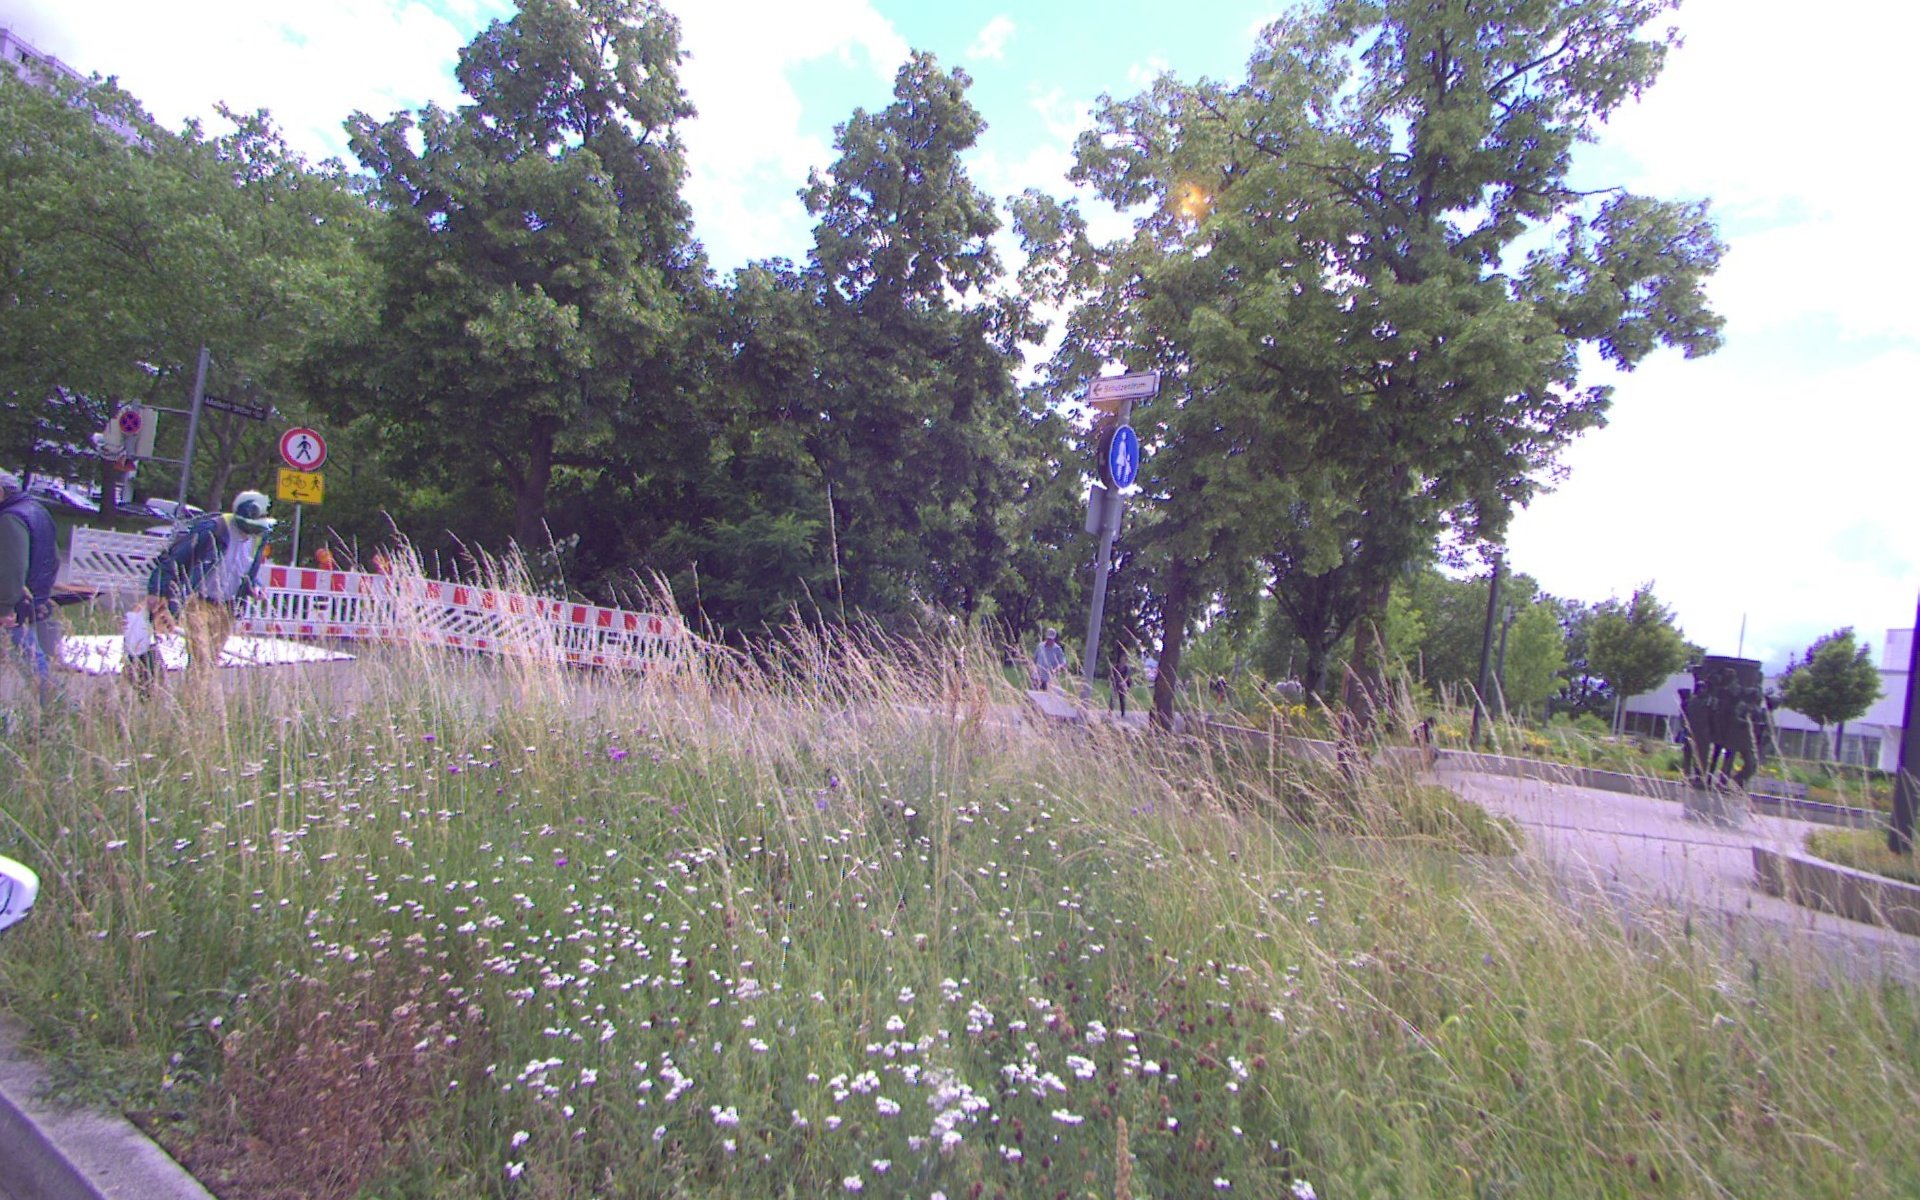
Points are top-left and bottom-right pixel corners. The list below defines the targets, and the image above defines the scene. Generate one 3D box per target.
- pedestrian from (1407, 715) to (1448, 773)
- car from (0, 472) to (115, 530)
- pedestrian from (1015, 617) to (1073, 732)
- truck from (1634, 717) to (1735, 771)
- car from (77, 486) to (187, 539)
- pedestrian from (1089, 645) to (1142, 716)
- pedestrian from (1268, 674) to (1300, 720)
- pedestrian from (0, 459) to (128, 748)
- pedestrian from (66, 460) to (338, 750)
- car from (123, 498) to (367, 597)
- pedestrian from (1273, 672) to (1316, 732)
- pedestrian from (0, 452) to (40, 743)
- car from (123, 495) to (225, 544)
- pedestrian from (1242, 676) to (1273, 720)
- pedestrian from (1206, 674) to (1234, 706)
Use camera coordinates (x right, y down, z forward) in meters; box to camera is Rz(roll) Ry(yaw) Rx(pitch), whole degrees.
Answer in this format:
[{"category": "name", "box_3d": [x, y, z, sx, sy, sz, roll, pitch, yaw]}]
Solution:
[{"category": "pedestrian", "box_3d": [10.759, 3.310, 23.163, 0.623, 1.236, 0.618, 7, -1, 36]}, {"category": "car", "box_3d": [-43.702, -4.774, 48.571, 3.926, 2.037, 2.001, 8, -1, 0]}, {"category": "pedestrian", "box_3d": [1.455, 1.283, 17.491, 0.757, 1.862, 0.765, 7, -1, 5]}, {"category": "truck", "box_3d": [37.309, 7.403, 51.929, 1.965, 2.037, 3.999, 8, -1, -4]}, {"category": "car", "box_3d": [-43.796, -4.598, 53.287, 3.926, 2.037, 2.001, 8, -1, 0]}, {"category": "pedestrian", "box_3d": [3.930, 2.029, 25.349, 0.879, 1.647, 0.817, 8, -1, 30]}, {"category": "pedestrian", "box_3d": [13.203, 3.958, 41.021, 0.879, 1.732, 0.817, 8, -1, 30]}, {"category": "pedestrian", "box_3d": [-5.753, 0.002, 6.143, 0.865, 1.654, 0.757, 8, -1, -40]}, {"category": "pedestrian", "box_3d": [-5.301, 0.048, 7.130, 0.995, 1.795, 0.948, 8, 0, -3]}, {"category": "car", "box_3d": [-19.723, -1.385, 28.053, 1.915, 1.895, 5.090, 7, -2, 28]}, {"category": "pedestrian", "box_3d": [12.505, 3.813, 37.574, 1.137, 2.037, 0.817, 8, 0, 30]}, {"category": "pedestrian", "box_3d": [-5.619, -0.022, 5.396, 0.819, 1.659, 0.725, 8, -1, -41]}, {"category": "car", "box_3d": [-44.251, -4.524, 56.690, 3.926, 2.037, 2.001, 8, -1, 0]}, {"category": "pedestrian", "box_3d": [12.315, 4.062, 41.615, 0.872, 1.681, 0.817, 8, -1, 30]}, {"category": "pedestrian", "box_3d": [14.400, 4.981, 55.672, 1.135, 1.571, 0.818, 8, -1, -2]}]
